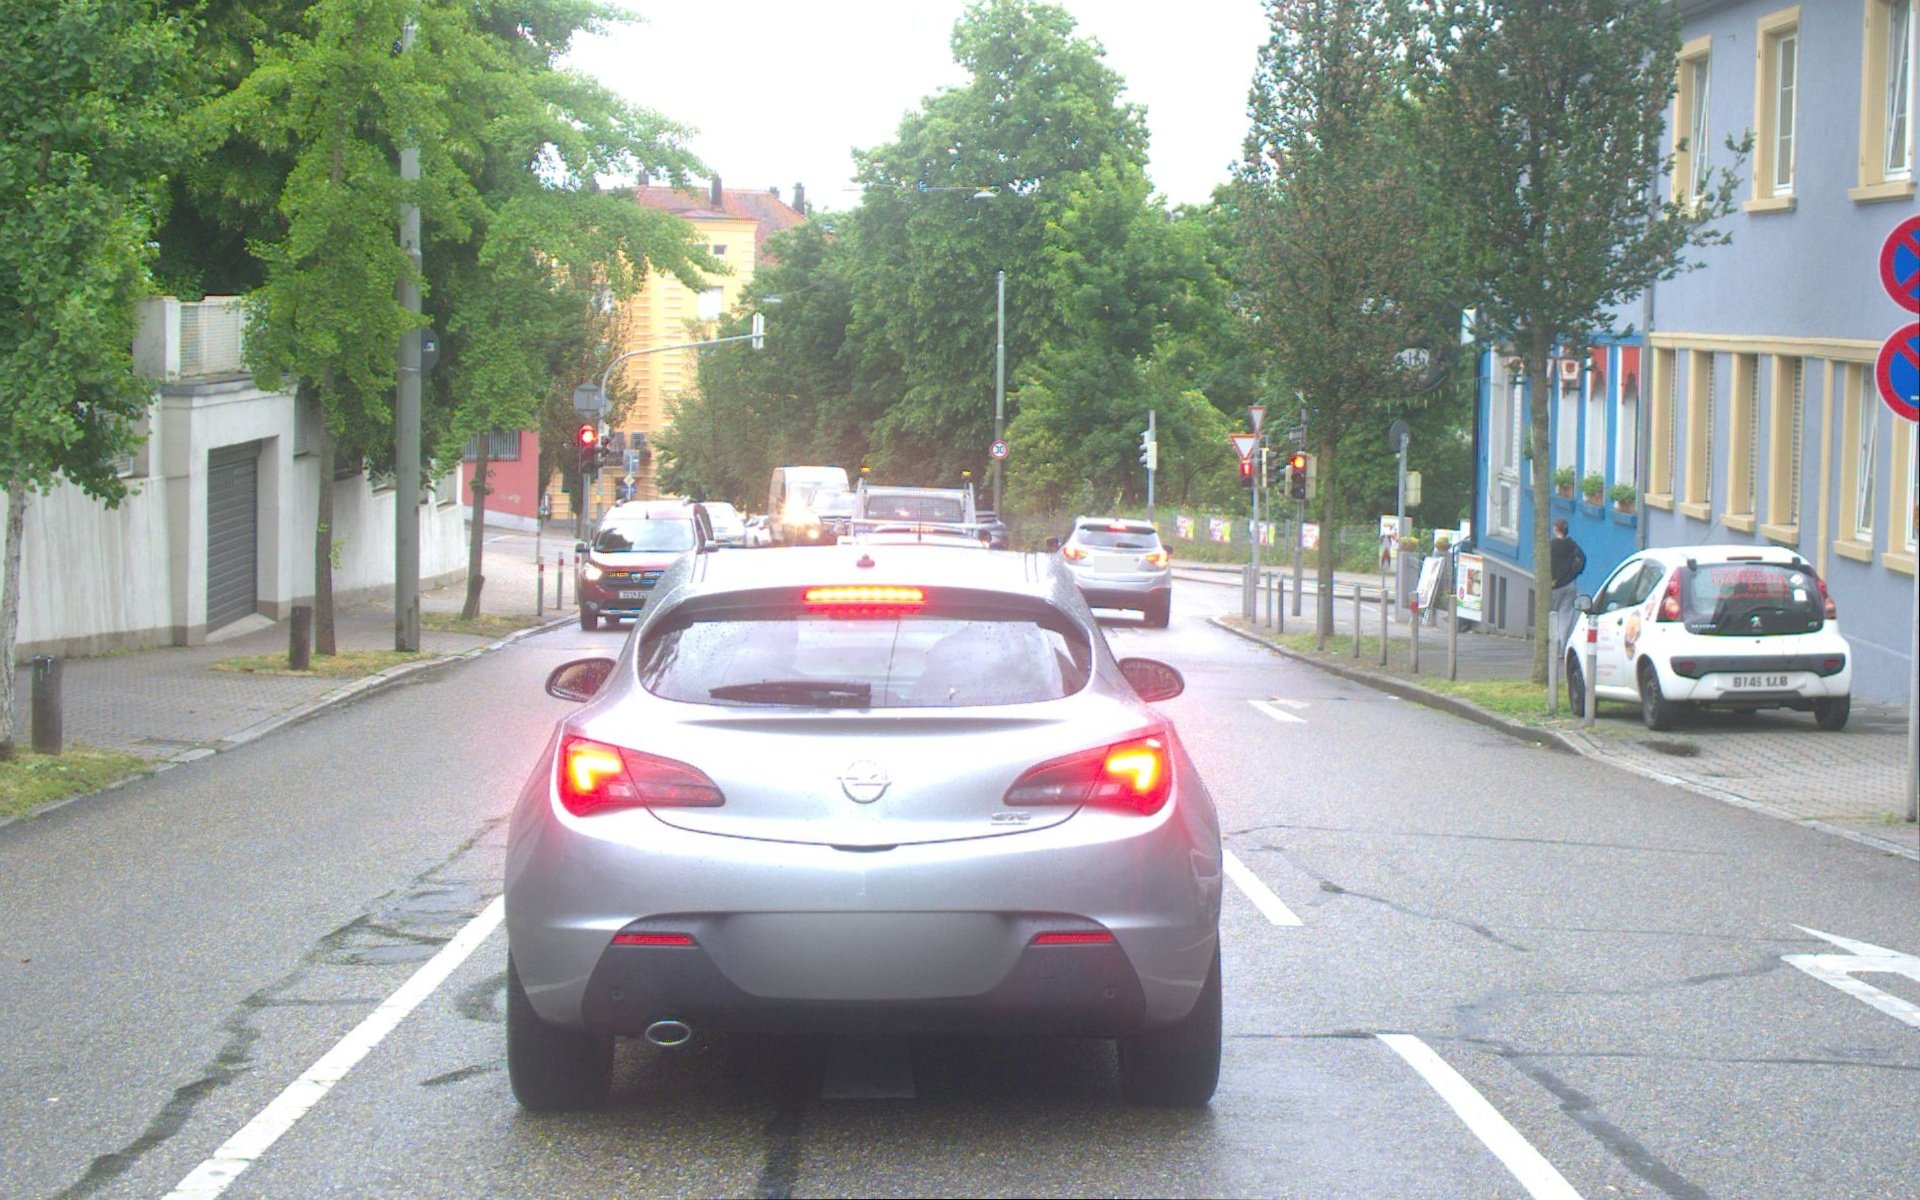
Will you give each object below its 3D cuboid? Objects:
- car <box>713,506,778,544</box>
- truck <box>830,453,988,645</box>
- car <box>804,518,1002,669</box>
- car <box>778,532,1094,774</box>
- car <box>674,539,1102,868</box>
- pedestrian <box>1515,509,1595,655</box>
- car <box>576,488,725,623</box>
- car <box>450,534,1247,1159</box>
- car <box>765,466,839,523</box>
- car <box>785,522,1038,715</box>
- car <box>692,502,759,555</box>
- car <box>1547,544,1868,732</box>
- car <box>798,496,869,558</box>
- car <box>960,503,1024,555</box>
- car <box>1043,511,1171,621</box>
[{"bbox_3d":[-8.714,-3.036,139.339,1.722,1.538,3.881,0,1,-18],"label":"car"},{"bbox_3d":[-0.736,-0.728,47.102,1.962,2.420,4.936,2,1,-2],"label":"truck"},{"bbox_3d":[-0.645,-0.115,37.110,1.962,1.443,4.306,2,1,-2],"label":"car"},{"bbox_3d":[-0.217,0.300,24.073,1.962,1.443,4.306,2,1,-2],"label":"car"},{"bbox_3d":[-0.403,0.451,18.353,1.962,1.443,4.306,2,1,-2],"label":"car"},{"bbox_3d":[7.211,-0.227,41.700,0.783,1.723,0.651,2,1,0],"label":"pedestrian"},{"bbox_3d":[-4.373,-0.642,49.101,1.746,1.822,4.459,-1,1,-1],"label":"car"},{"bbox_3d":[-0.340,0.543,9.970,1.837,1.429,3.880,1,1,-2],"label":"car"},{"bbox_3d":[-4.626,-3.064,100.231,1.722,1.632,3.881,0,1,-9],"label":"car"},{"bbox_3d":[-0.448,0.101,29.451,1.962,1.443,4.306,2,1,-2],"label":"car"},{"bbox_3d":[-6.631,-2.027,97.495,1.722,1.455,3.880,0,1,-2],"label":"car"},{"bbox_3d":[6.153,0.265,28.713,1.722,1.443,3.880,0,1,-2],"label":"car"},{"bbox_3d":[-3.389,-1.977,92.611,1.870,1.632,3.880,0,1,-2],"label":"car"},{"bbox_3d":[1.006,-2.250,108.904,1.722,1.632,3.880,0,1,-4],"label":"car"},{"bbox_3d":[2.318,-0.571,55.138,1.722,1.708,3.880,0,1,-2],"label":"car"}]
